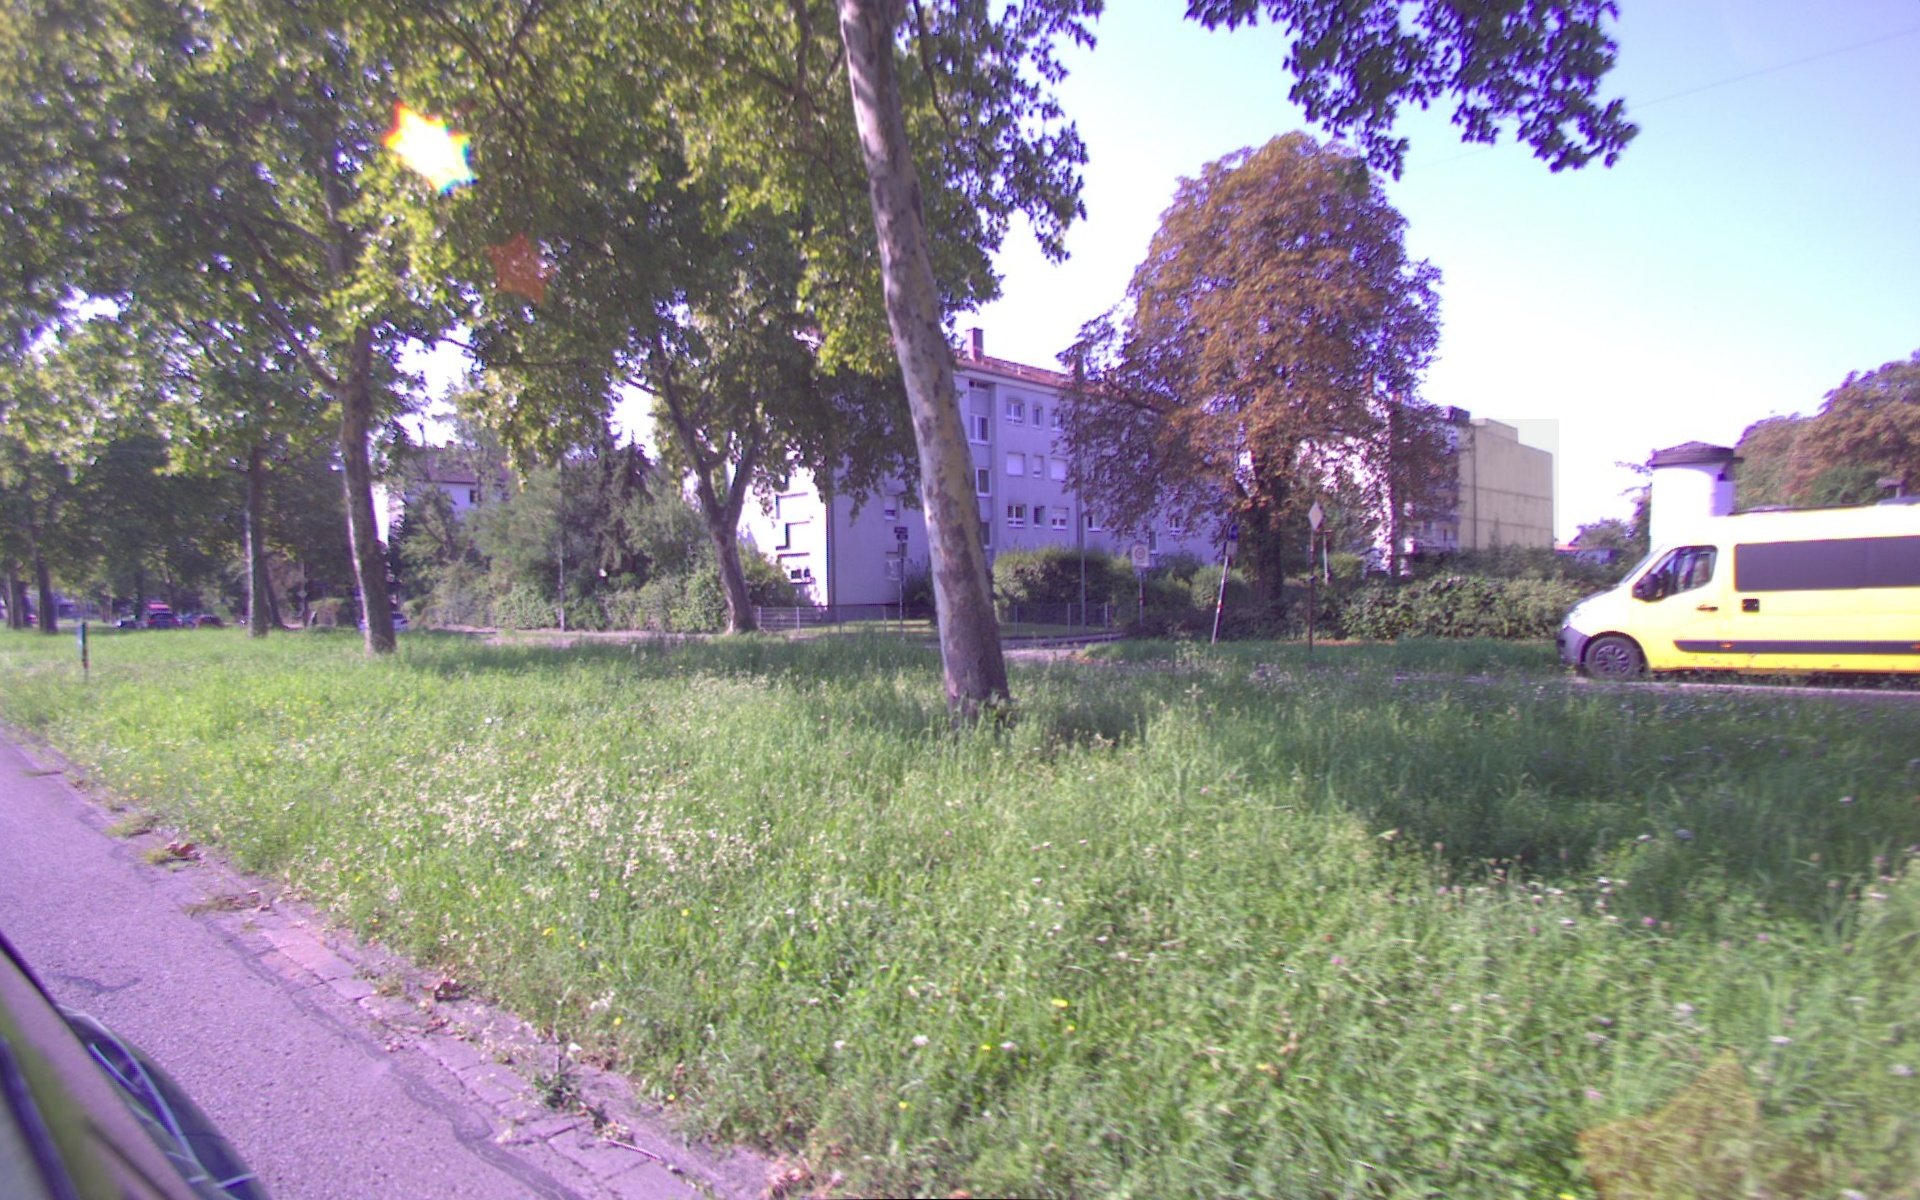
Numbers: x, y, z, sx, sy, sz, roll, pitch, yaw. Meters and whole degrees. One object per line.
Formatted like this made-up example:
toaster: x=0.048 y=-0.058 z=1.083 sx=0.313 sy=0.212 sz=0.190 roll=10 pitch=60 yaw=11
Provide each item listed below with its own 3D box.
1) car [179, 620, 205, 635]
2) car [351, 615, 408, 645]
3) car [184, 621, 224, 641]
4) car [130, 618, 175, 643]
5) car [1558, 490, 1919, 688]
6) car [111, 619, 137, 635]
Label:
car: x=-74.593 y=2.648 z=98.254 sx=1.591 sy=1.301 sz=3.525 roll=-2 pitch=1 yaw=-44
car: x=-31.767 y=1.614 z=55.351 sx=3.899 sy=1.490 sz=1.627 roll=-1 pitch=1 yaw=43
car: x=-56.147 y=2.274 z=75.122 sx=3.897 sy=1.374 sz=1.628 roll=-2 pitch=0 yaw=42
car: x=-55.561 y=2.064 z=69.608 sx=4.857 sy=1.628 sz=1.756 roll=-1 pitch=1 yaw=43
car: x=12.126 y=-0.152 z=14.212 sx=6.061 sy=2.498 sz=2.184 roll=-1 pitch=1 yaw=43
car: x=-87.166 y=2.792 z=105.533 sx=3.899 sy=1.490 sz=1.627 roll=-1 pitch=1 yaw=43
